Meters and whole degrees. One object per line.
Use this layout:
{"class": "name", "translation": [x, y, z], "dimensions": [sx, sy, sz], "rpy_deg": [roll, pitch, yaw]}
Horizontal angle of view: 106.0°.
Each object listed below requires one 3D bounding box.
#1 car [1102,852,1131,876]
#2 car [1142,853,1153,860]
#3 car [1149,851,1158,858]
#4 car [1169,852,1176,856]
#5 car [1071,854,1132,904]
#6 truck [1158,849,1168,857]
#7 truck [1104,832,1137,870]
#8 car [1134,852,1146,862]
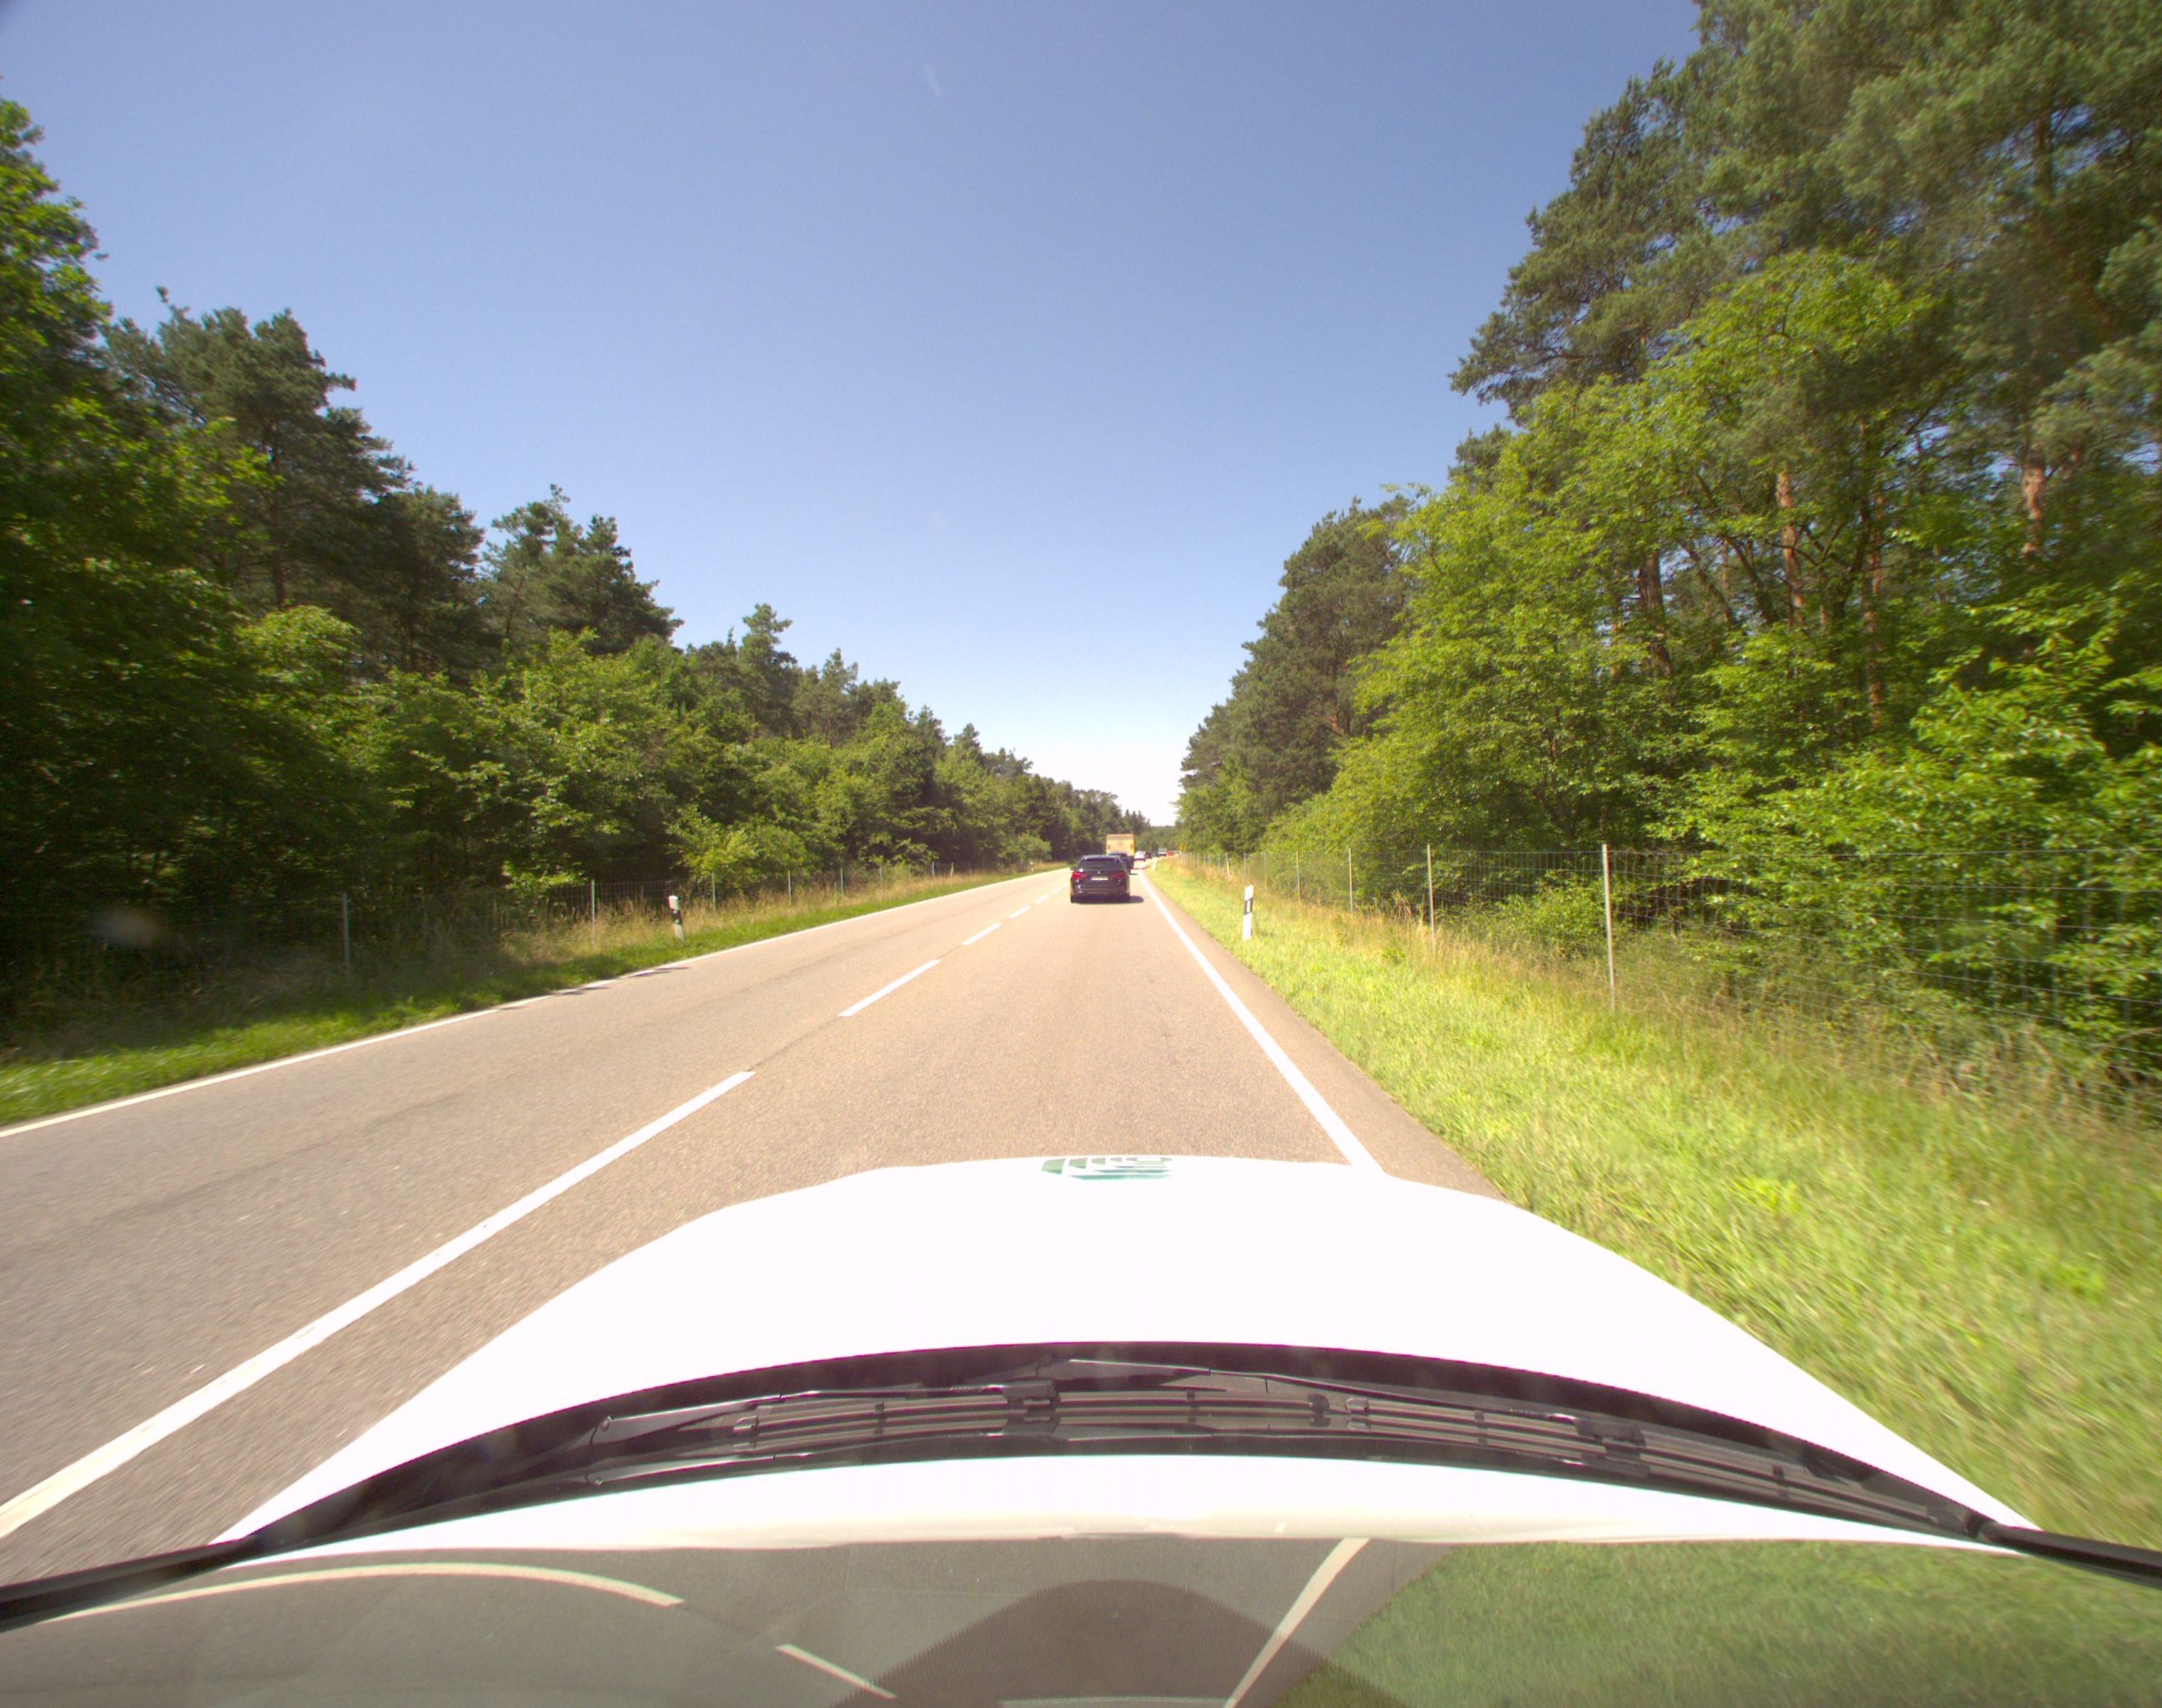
{"class": "car", "translation": [2.486, 0.687, 57.814], "dimensions": [1.940, 1.542, 4.002], "rpy_deg": [-2, 0, 2]}
{"class": "car", "translation": [13.918, 0.479, 170.496], "dimensions": [1.986, 1.420, 4.002], "rpy_deg": [-1, 0, 2]}
{"class": "car", "translation": [17.927, 0.233, 201.071], "dimensions": [1.984, 1.636, 4.005], "rpy_deg": [-2, 0, 5]}
{"class": "car", "translation": [29.115, -0.011, 260.084], "dimensions": [1.783, 1.354, 3.942], "rpy_deg": [-2, 0, 12]}
{"class": "car", "translation": [0.607, 0.749, 26.057], "dimensions": [1.815, 1.470, 3.999], "rpy_deg": [0, 0, 0]}
{"class": "truck", "translation": [22.760, -0.347, 225.241], "dimensions": [2.550, 2.202, 4.984], "rpy_deg": [-2, 0, 7]}
{"class": "truck", "translation": [3.820, -0.266, 77.520], "dimensions": [2.953, 3.387, 6.444], "rpy_deg": [-2, 0, 4]}
{"class": "car", "translation": [10.004, 0.424, 138.693], "dimensions": [1.856, 1.605, 4.002], "rpy_deg": [-2, 0, 2]}
